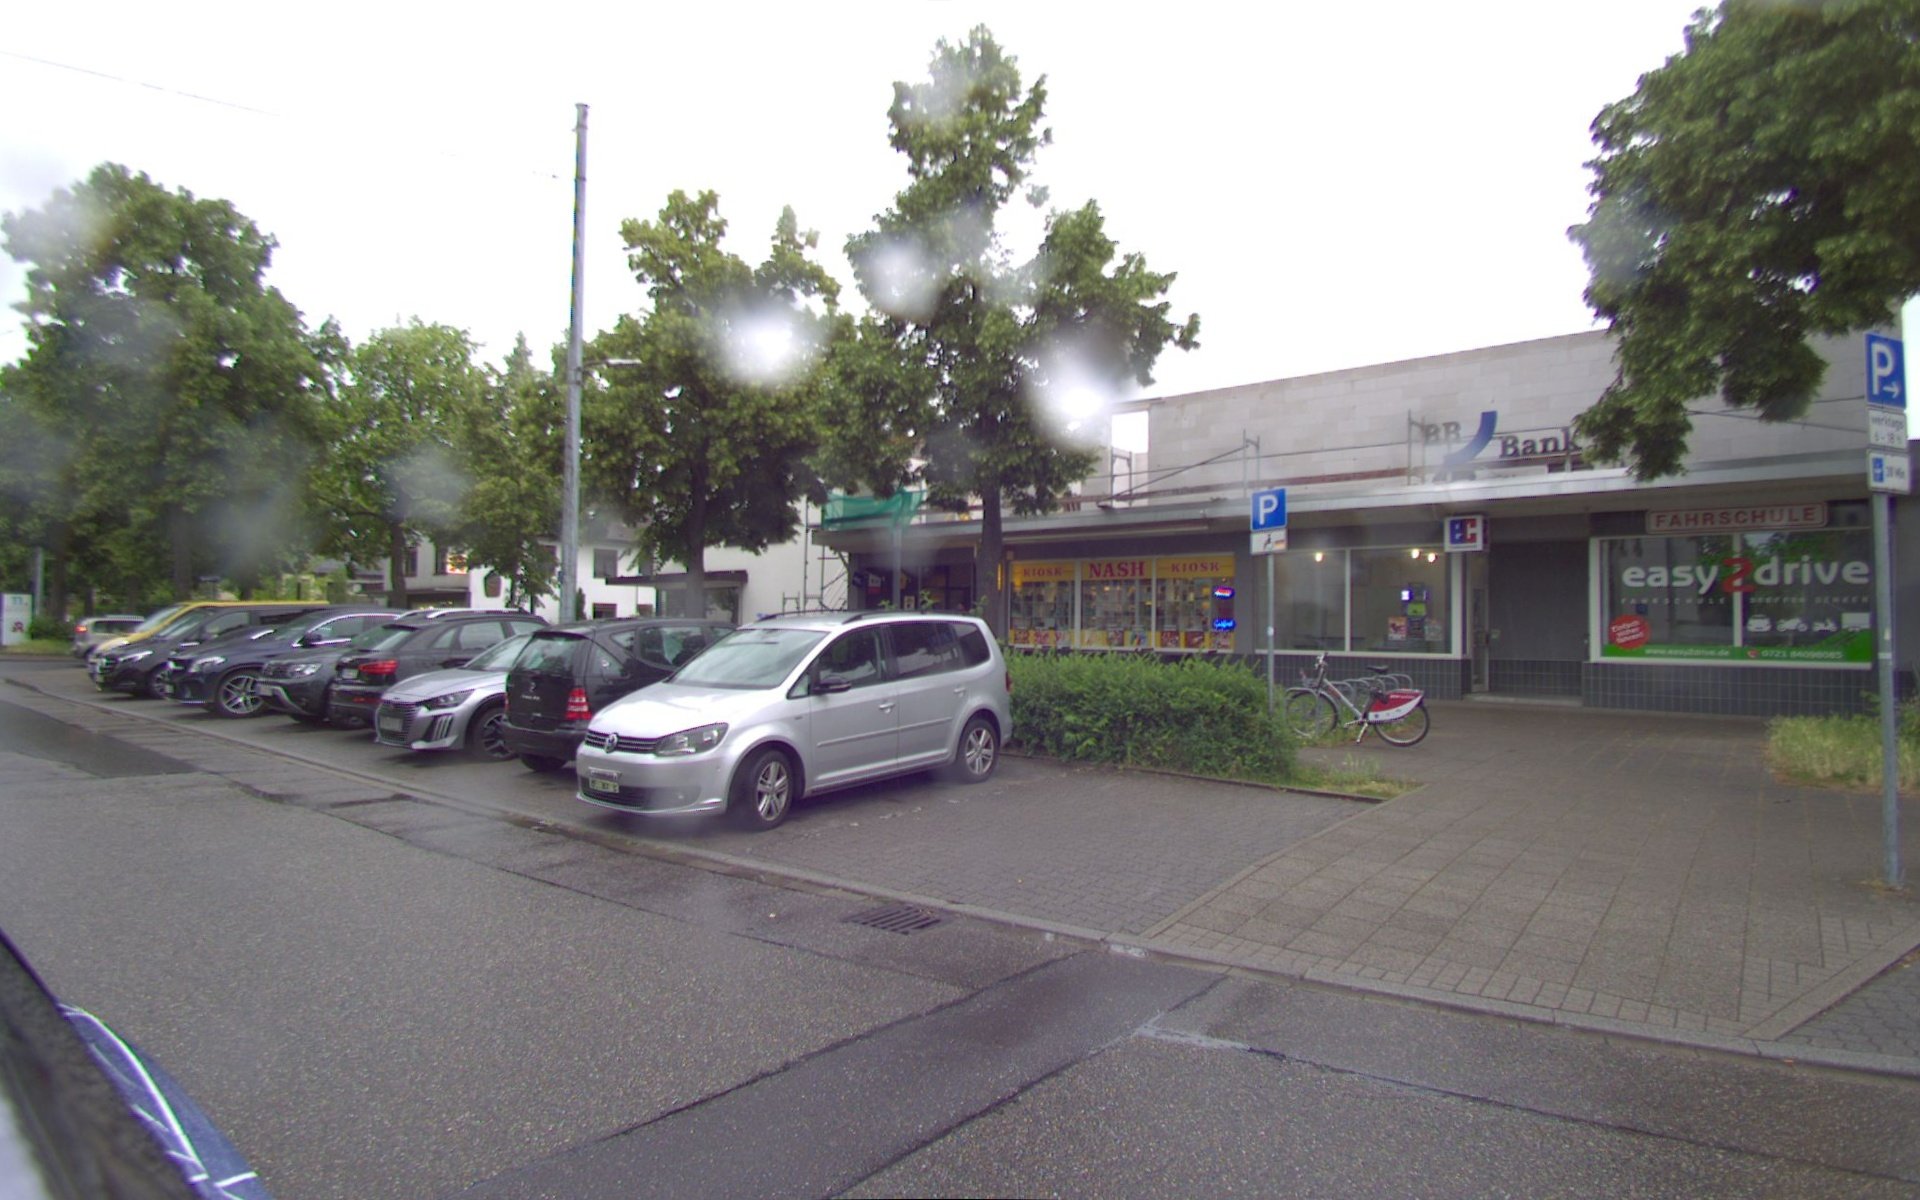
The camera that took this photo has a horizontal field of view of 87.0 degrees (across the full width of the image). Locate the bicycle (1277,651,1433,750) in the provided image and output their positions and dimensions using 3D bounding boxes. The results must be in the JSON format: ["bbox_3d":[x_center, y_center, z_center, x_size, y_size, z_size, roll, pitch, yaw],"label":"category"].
[{"bbox_3d":[4.800,1.202,12.342,1.739,1.115,0.316,-1,0,25],"label":"bicycle"}]

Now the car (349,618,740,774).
[{"bbox_3d":[-4.958,1.029,12.608,1.713,1.544,4.231,-1,-1,38],"label":"car"}]

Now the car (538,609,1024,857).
[{"bbox_3d":[-1.321,0.913,9.004,1.713,1.647,4.231,-1,-1,38],"label":"car"}]

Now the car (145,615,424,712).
[{"bbox_3d":[-13.012,1.138,19.739,1.713,1.639,4.231,-1,-1,38],"label":"car"}]

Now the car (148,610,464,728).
[{"bbox_3d":[-10.991,1.052,17.283,1.713,1.740,4.231,-1,-1,38],"label":"car"}]

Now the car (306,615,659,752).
[{"bbox_3d":[-6.575,1.034,14.350,1.713,1.607,4.231,-1,-1,38],"label":"car"}]

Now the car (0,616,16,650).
[{"bbox_3d":[-49.737,1.680,50.236,1.997,1.698,3.950,-1,0,37],"label":"car"}]

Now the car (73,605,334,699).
[{"bbox_3d":[-17.445,1.108,23.568,1.713,1.973,4.600,-1,-1,38],"label":"car"}]

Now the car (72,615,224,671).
[{"bbox_3d":[-27.354,1.400,34.255,3.935,1.700,1.845,-1,0,-37],"label":"car"}]

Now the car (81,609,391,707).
[{"bbox_3d":[-15.156,1.118,21.515,1.713,1.813,5.114,-1,-1,38],"label":"car"}]

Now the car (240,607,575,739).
[{"bbox_3d":[-8.349,0.990,15.643,1.713,1.740,4.231,-1,-1,38],"label":"car"}]

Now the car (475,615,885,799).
[{"bbox_3d":[-2.850,0.979,11.145,1.633,1.577,4.231,-1,0,38],"label":"car"}]
